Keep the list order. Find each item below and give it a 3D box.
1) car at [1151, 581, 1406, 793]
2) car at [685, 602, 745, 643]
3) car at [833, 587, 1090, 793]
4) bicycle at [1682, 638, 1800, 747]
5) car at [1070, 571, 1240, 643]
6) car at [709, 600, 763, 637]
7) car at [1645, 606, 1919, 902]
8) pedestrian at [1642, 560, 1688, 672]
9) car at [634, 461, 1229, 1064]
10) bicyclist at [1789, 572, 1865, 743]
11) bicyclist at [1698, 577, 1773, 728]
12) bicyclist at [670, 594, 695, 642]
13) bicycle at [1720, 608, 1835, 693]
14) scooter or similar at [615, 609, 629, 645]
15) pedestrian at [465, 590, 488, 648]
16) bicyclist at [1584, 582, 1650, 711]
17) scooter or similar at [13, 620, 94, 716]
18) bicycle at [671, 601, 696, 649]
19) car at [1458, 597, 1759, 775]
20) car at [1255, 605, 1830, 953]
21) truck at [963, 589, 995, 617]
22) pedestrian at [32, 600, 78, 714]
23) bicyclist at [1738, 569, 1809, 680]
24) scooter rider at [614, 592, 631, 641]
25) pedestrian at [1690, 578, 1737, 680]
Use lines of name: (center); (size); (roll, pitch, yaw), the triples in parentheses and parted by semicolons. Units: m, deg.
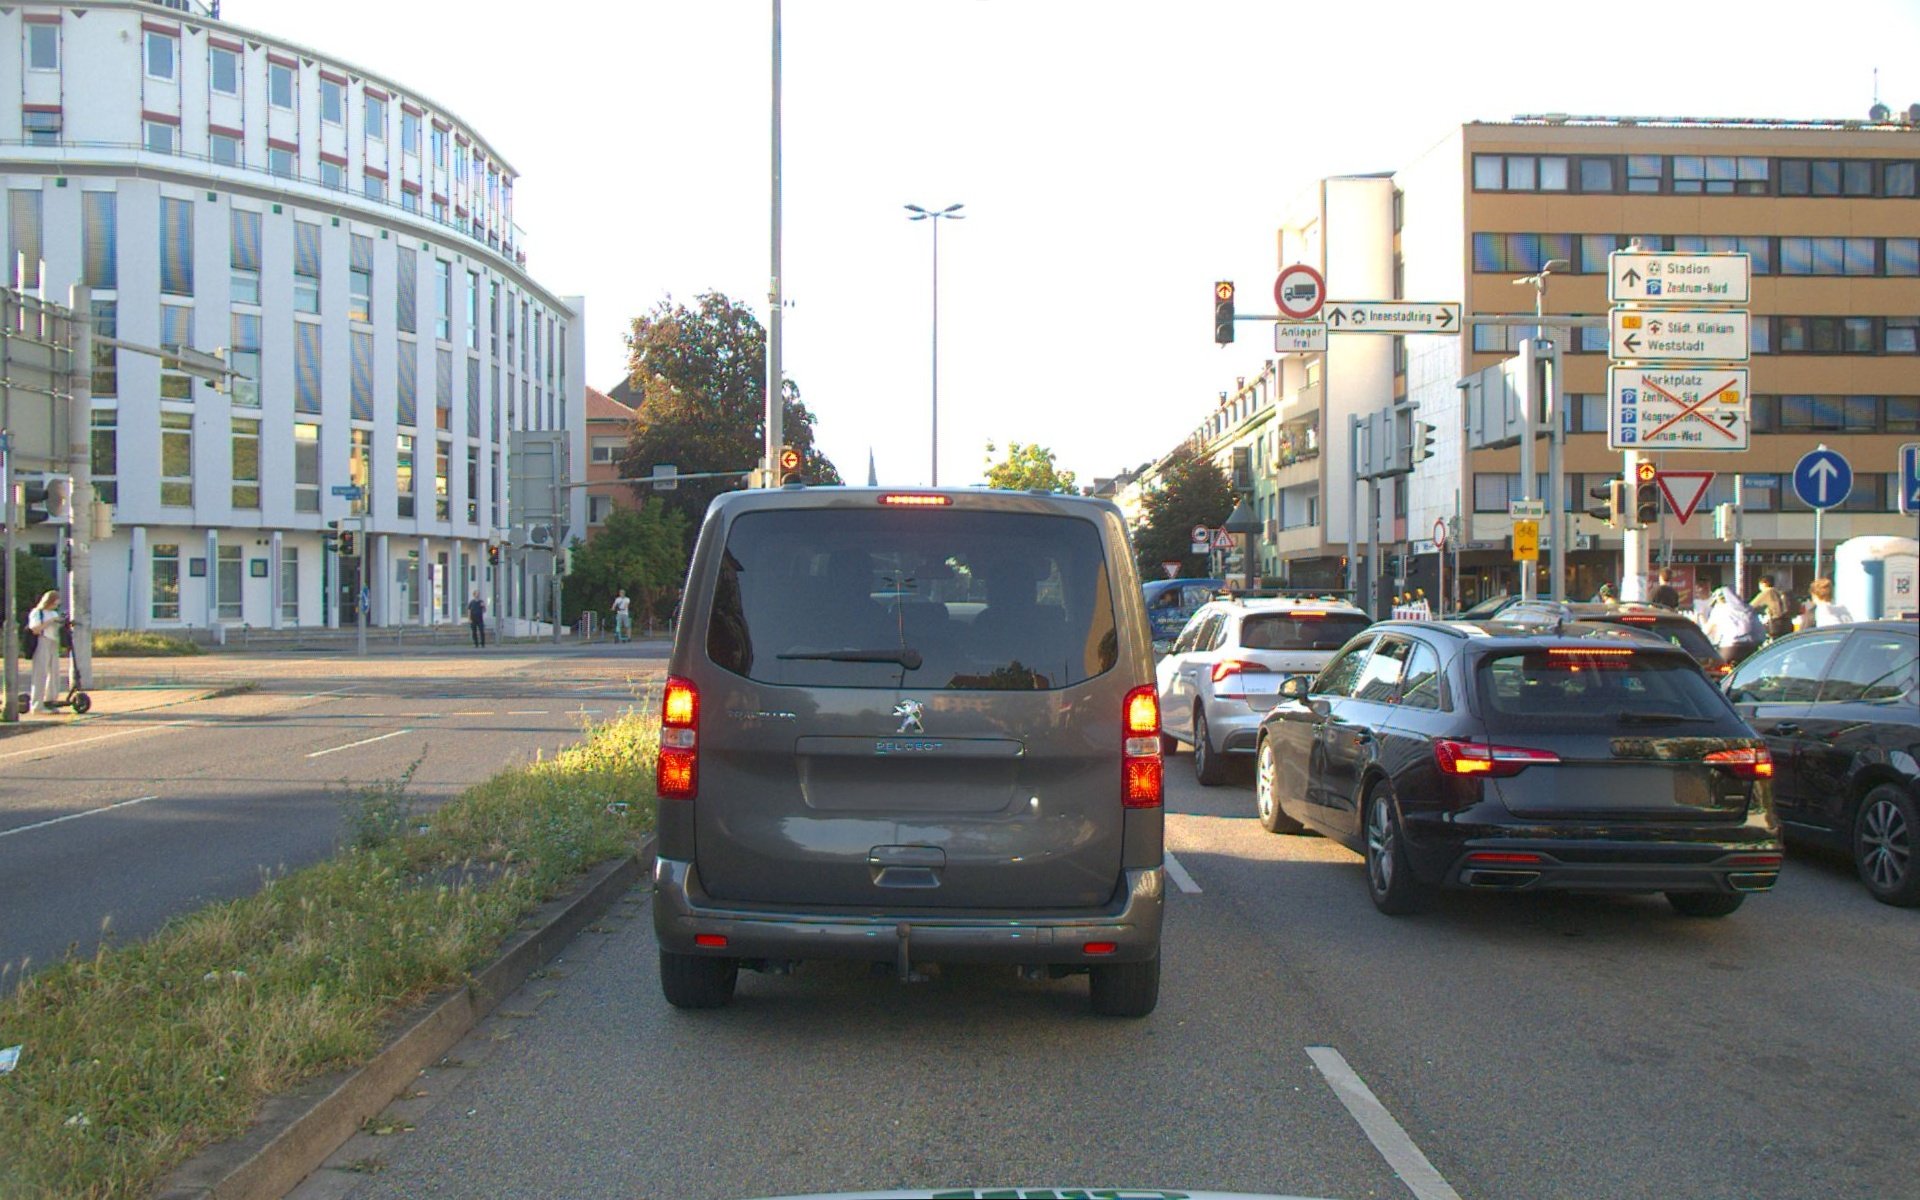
car: (2.729, 0.682, 14.912); (1.498, 1.641, 3.744); (1, 0, -1)
car: (-9.209, 0.819, 62.354); (1.819, 1.445, 3.998); (0, 0, -2)
car: (-0.014, 0.676, 14.606); (1.953, 1.557, 3.999); (0, 0, -1)
bicycle: (8.134, 0.934, 17.297); (0.329, 1.025, 1.855); (0, 0, -1)
car: (5.211, 0.159, 44.095); (4.172, 1.849, 1.980); (-1, 0, -31)
car: (-9.175, 0.731, 67.965); (1.819, 1.445, 3.998); (0, 0, -2)
car: (5.641, 0.801, 9.730); (1.600, 1.474, 3.744); (1, 0, -1)
pedestrian: (11.879, 0.260, 27.885); (0.558, 1.866, 0.487); (0, 0, 1)
car: (-0.120, 0.517, 7.559); (1.868, 1.896, 4.525); (1, 0, -1)
bicyclist: (7.975, 0.521, 15.219); (0.432, 1.552, 0.482); (0, 0, -1)
bicyclist: (8.138, 0.542, 17.380); (0.432, 1.552, 0.725); (0, 0, -1)
bicyclist: (-12.135, 0.786, 72.379); (0.816, 2.049, 1.064); (1, -1, 1)
bicycle: (12.176, 0.741, 24.655); (1.472, 1.181, 0.371); (2, 1, 41)
scooter or similar: (-11.861, 0.942, 58.097); (0.279, 1.209, 1.169); (0, 0, -1)
pedestrian: (-14.809, 0.581, 50.668); (0.615, 1.752, 0.669); (0, 0, -15)
bicyclist: (8.066, 0.564, 20.314); (0.503, 1.552, 0.725); (0, 0, -1)
scooter or similar: (-12.160, 0.908, 22.196); (0.877, 1.255, 0.370); (0, 0, -12)
bicycle: (-12.103, 1.070, 72.511); (0.700, 2.049, 2.563); (0, 0, -1)
car: (5.907, 0.711, 15.454); (1.474, 1.474, 3.304); (0, 0, -1)
car: (2.890, 0.779, 9.230); (1.647, 1.446, 4.213); (1, 0, -1)
truck: (1.483, 0.203, 126.533); (2.083, 2.123, 4.634); (0, 0, 5)
pedestrian: (-12.239, 0.766, 22.366); (0.466, 1.532, 0.334); (0, 0, -13)
bicyclist: (12.135, 0.355, 24.668); (0.799, 1.616, 0.616); (2, 1, 41)
scooter rider: (-11.856, 0.582, 58.138); (0.471, 1.727, 0.636); (0, 0, -1)
pedestrian: (12.654, 0.485, 27.787); (0.589, 1.700, 0.454); (0, 0, 1)
